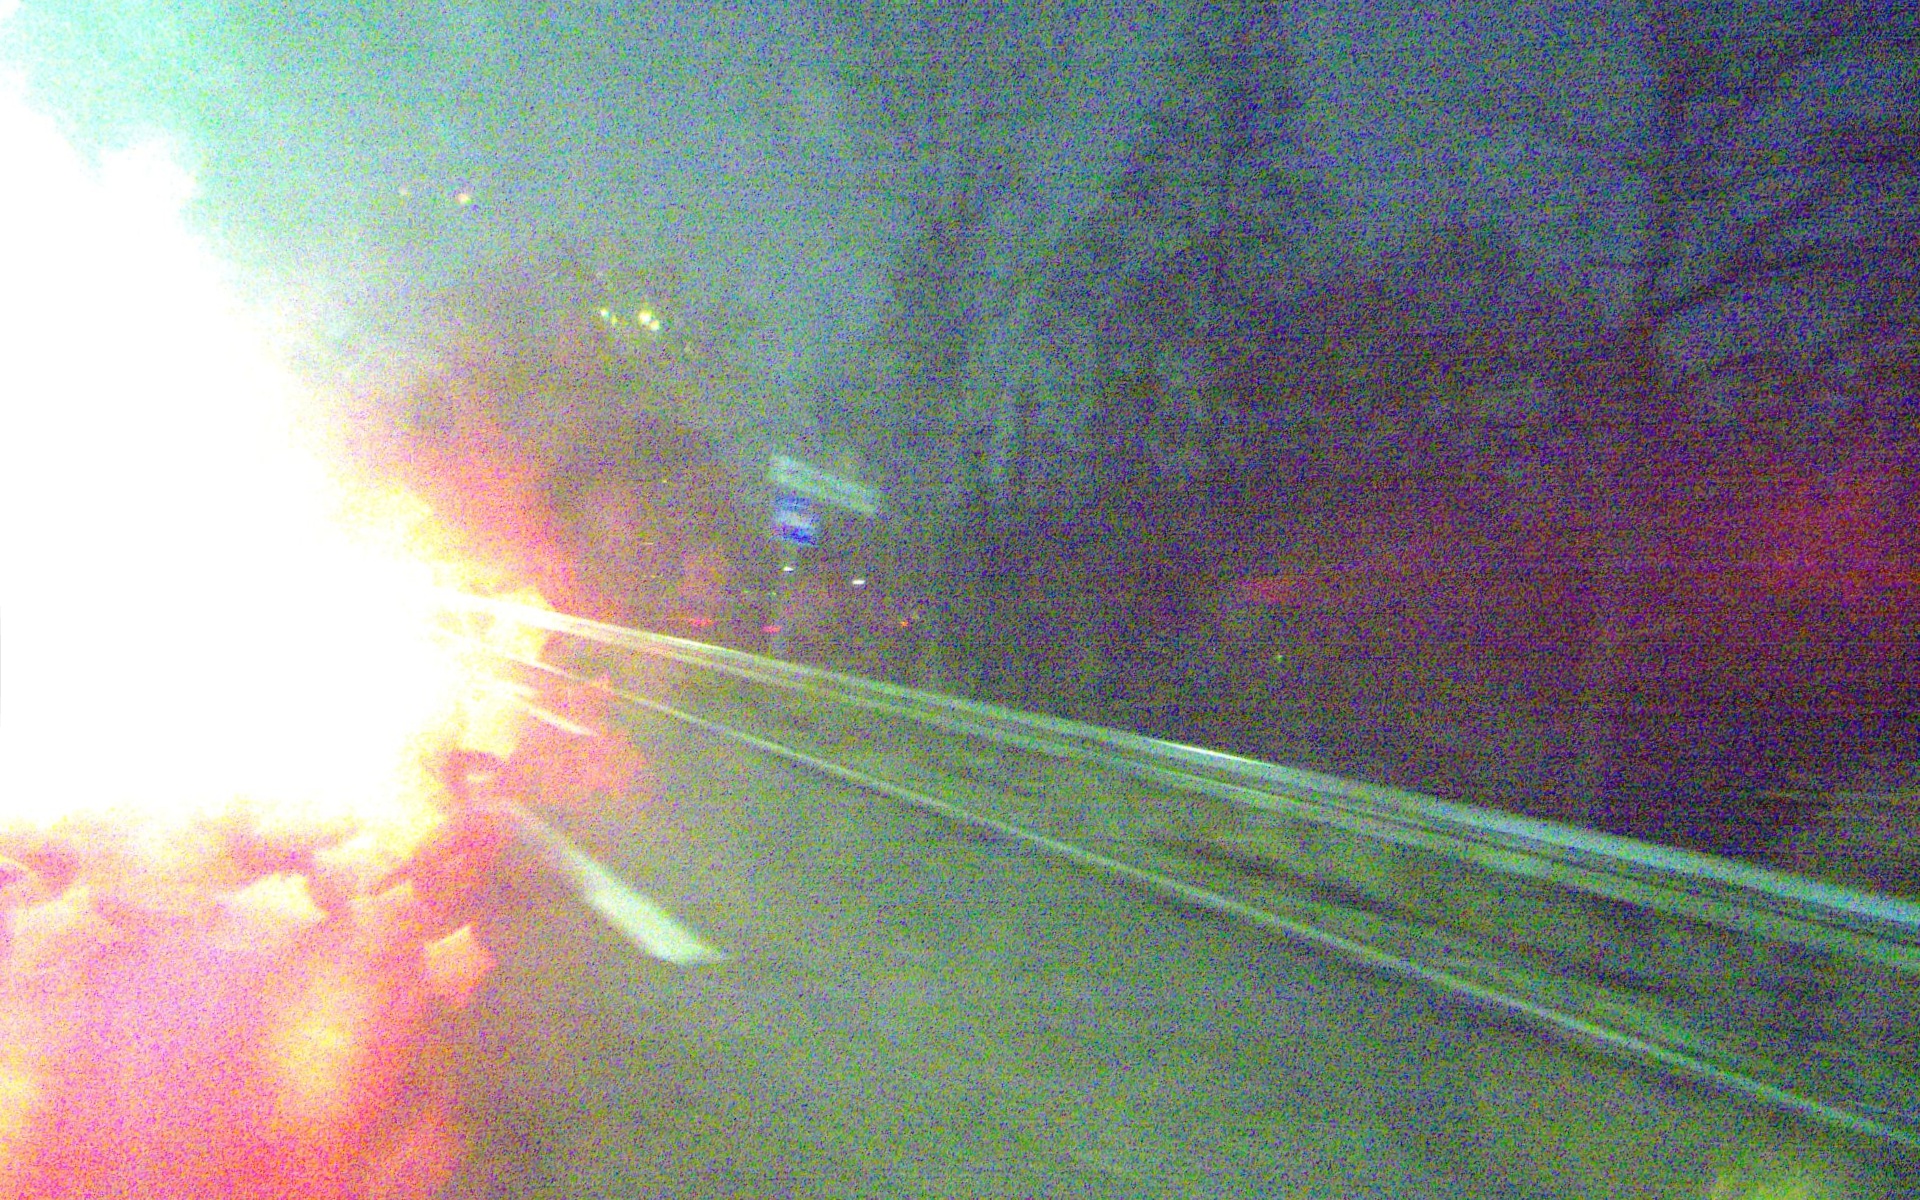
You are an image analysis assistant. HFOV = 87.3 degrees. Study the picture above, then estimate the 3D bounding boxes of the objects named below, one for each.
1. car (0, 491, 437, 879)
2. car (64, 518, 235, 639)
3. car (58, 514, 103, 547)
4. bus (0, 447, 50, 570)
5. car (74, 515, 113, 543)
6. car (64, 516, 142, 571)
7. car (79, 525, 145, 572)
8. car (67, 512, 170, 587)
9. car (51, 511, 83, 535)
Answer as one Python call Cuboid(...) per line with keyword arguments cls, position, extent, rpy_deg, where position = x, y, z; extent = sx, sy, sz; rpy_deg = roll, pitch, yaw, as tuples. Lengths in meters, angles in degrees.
Cuboid(cls="car", position=(-4.701, 0.263, 5.996), extent=(1.814, 1.502, 4.518), rpy_deg=(7, -1, -39))
Cuboid(cls="car", position=(-12.684, -0.407, 15.662), extent=(1.725, 1.466, 4.670), rpy_deg=(8, -2, -41))
Cuboid(cls="car", position=(-49.837, -3.945, 57.003), extent=(1.773, 1.561, 3.830), rpy_deg=(8, -1, -42))
Cuboid(cls="bus", position=(-28.027, -2.729, 28.615), extent=(2.805, 3.060, 8.586), rpy_deg=(7, -1, -41))
Cuboid(cls="car", position=(-59.224, -4.844, 68.734), extent=(1.813, 1.610, 3.732), rpy_deg=(6, 0, -42))
Cuboid(cls="car", position=(-29.654, -1.970, 34.760), extent=(1.813, 1.610, 3.731), rpy_deg=(6, 0, -43))
Cuboid(cls="car", position=(-34.730, -2.114, 41.175), extent=(1.813, 1.610, 3.731), rpy_deg=(6, 0, -43))
Cuboid(cls="car", position=(-21.733, -1.328, 25.935), extent=(1.734, 1.583, 3.731), rpy_deg=(8, -1, -43))
Cuboid(cls="car", position=(-70.782, -6.079, 79.730), extent=(1.813, 1.610, 3.732), rpy_deg=(6, 0, -42))
